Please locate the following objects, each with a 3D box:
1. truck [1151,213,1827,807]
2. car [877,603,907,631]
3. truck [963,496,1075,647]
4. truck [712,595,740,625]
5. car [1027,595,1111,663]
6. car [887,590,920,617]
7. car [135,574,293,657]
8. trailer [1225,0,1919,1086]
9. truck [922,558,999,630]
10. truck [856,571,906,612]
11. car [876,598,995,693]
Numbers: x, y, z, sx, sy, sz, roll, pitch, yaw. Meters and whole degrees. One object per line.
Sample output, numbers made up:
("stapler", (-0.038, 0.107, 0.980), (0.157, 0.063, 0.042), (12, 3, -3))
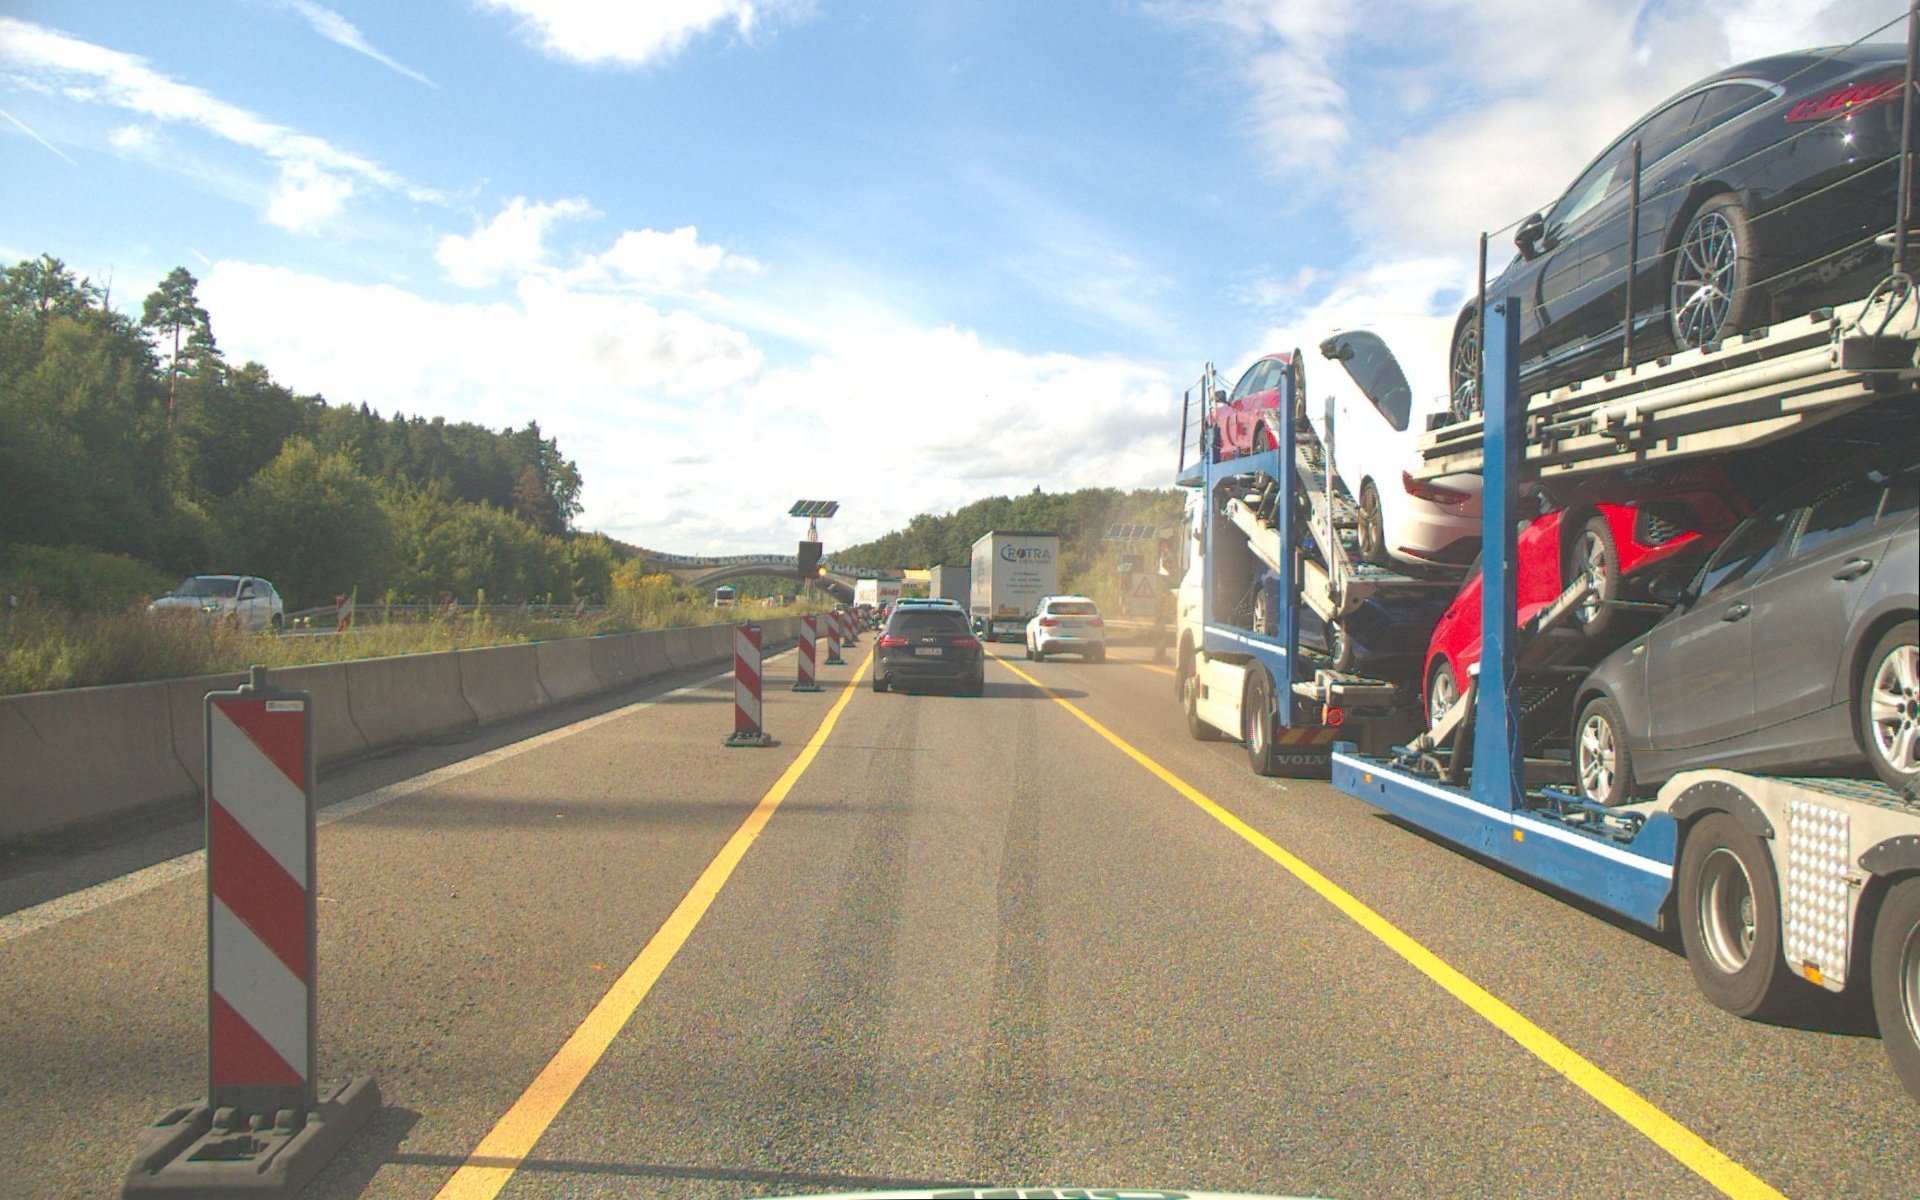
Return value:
("truck", (4.373, -0.627, 16.115), (3.686, 4.270, 7.946), (1, 0, -3))
("car", (-5.131, 1.257, 123.944), (1.955, 2.049, 3.994), (1, 0, -7))
("truck", (2.183, -0.989, 68.760), (3.603, 5.447, 16.196), (1, 0, -1))
("truck", (-28.822, 1.267, 203.681), (2.728, 3.551, 4.938), (1, 0, -1))
("car", (2.824, 0.732, 43.715), (1.852, 1.672, 4.017), (1, 0, -1))
("car", (-3.684, 0.237, 107.180), (1.853, 1.672, 4.013), (1, 0, -5))
("car", (-17.474, 0.352, 38.979), (1.742, 1.817, 4.364), (1, 0, -1))
("trailer", (4.708, -0.589, 7.859), (3.651, 4.270, 16.219), (1, 0, -2))
("truck", (-0.102, -0.360, 114.113), (4.235, 4.681, 11.112), (1, 0, -5))
("truck", (-8.205, -0.856, 170.959), (3.589, 3.997, 11.037), (1, 0, -11))
("car", (-0.421, 0.729, 28.054), (1.852, 1.472, 3.999), (1, 0, -1))
